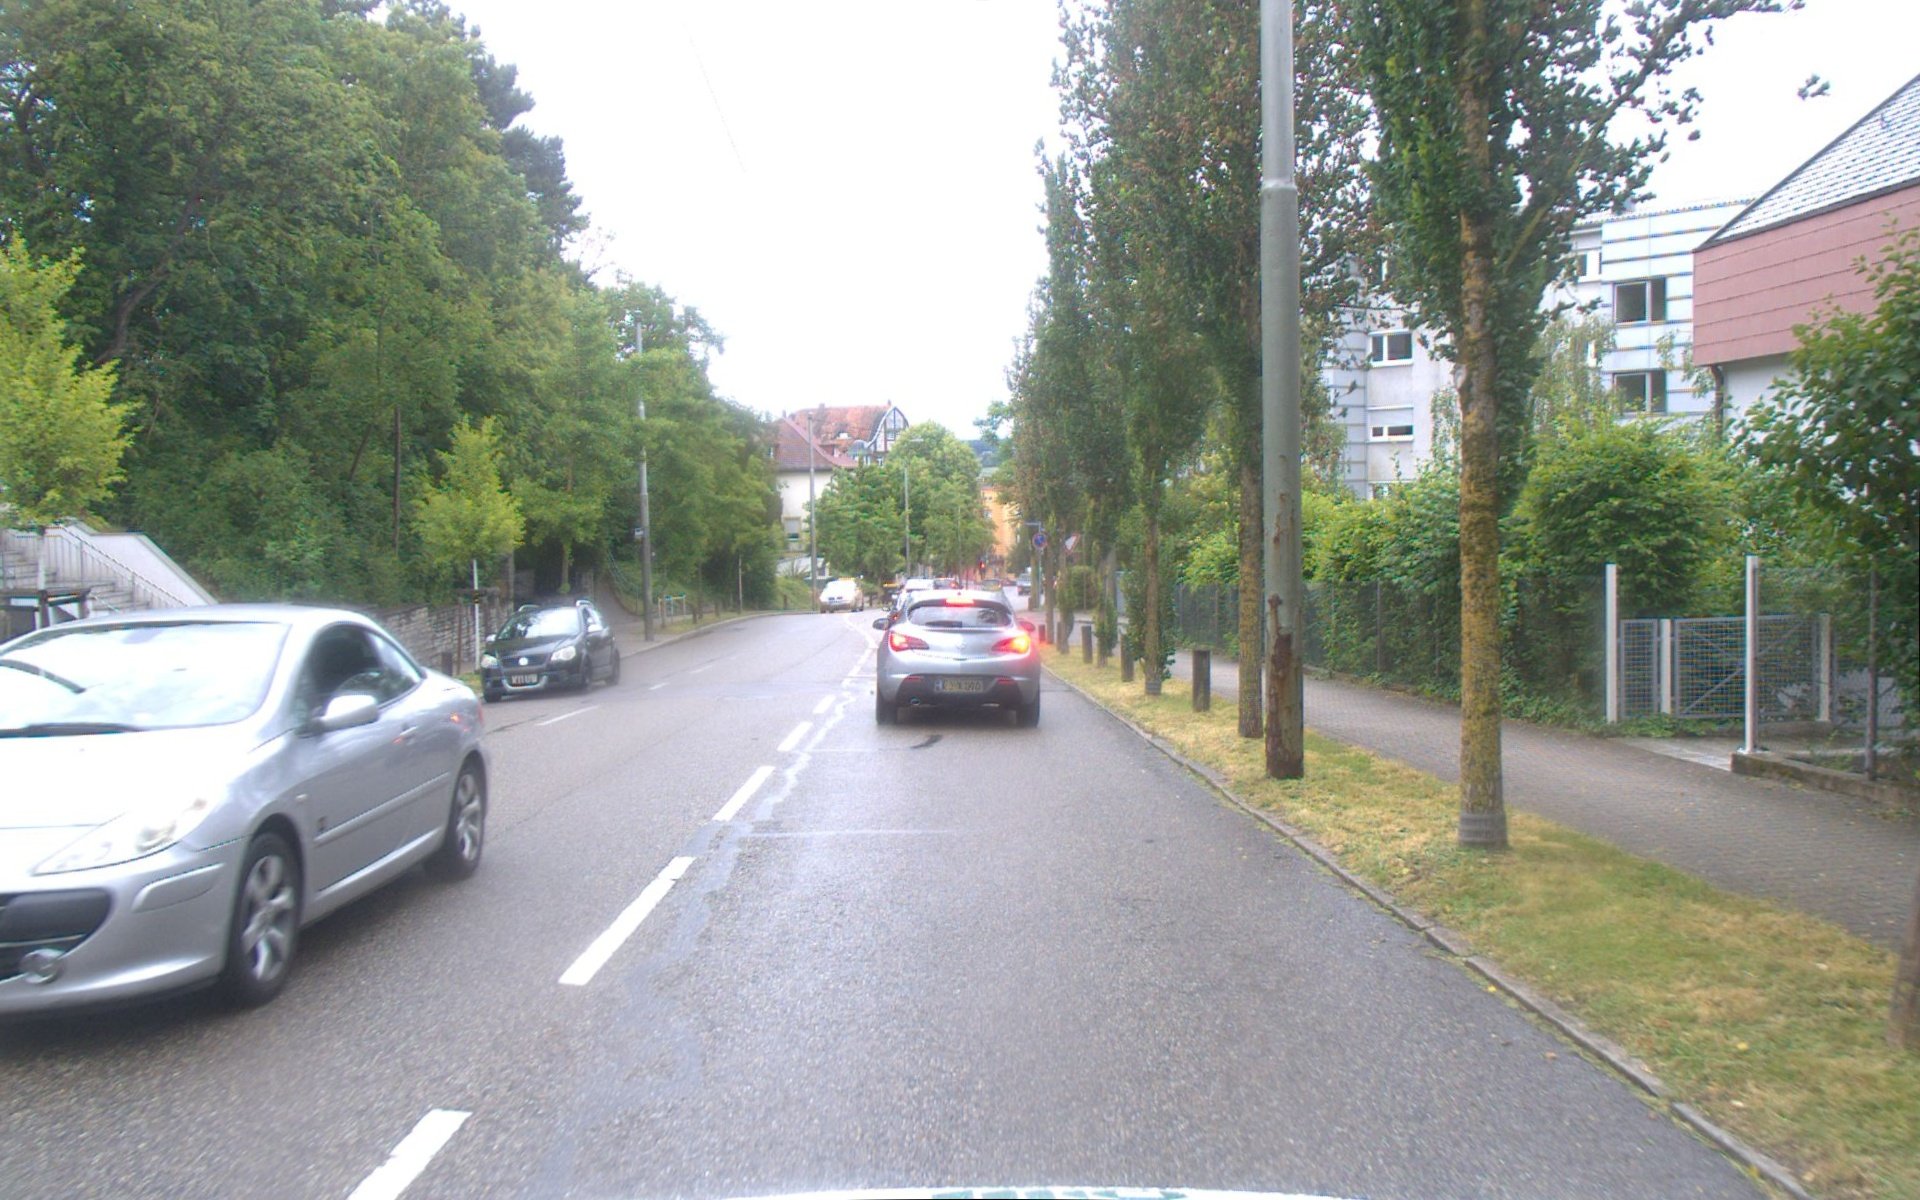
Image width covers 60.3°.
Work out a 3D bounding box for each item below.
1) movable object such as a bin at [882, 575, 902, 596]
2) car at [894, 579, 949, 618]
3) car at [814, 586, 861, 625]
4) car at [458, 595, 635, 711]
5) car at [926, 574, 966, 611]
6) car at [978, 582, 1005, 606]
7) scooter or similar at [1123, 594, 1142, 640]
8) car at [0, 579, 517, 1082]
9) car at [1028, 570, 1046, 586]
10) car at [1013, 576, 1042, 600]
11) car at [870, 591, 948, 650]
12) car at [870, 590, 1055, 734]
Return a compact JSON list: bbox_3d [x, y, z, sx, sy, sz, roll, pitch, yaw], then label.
[{"bbox_3d":[-4.589,-0.973,111.387,1.245,1.411,0.489,0,1,4],"label":"movable object such as a bin"},{"bbox_3d":[-1.634,-0.093,71.482,1.919,1.497,3.954,1,2,4],"label":"car"},{"bbox_3d":[-5.527,0.212,74.979,1.729,1.511,3.802,-3,2,1],"label":"car"},{"bbox_3d":[-6.602,0.789,26.819,1.710,1.575,3.919,-5,0,1],"label":"car"},{"bbox_3d":[-0.720,-0.442,87.821,1.731,1.812,3.979,1,2,4],"label":"car"},{"bbox_3d":[2.342,-0.457,120.973,1.717,1.679,4.003,1,1,4],"label":"car"},{"bbox_3d":[4.863,0.467,46.643,0.336,1.276,1.267,1,0,-2],"label":"scooter or similar"},{"bbox_3d":[-3.298,0.720,7.051,1.726,1.512,3.999,-3,0,-1],"label":"car"},{"bbox_3d":[9.766,-2.779,209.512,1.951,1.815,4.004,1,2,7],"label":"car"},{"bbox_3d":[6.326,-1.161,155.129,2.284,2.071,4.739,1,2,7],"label":"car"},{"bbox_3d":[-1.237,0.490,41.733,1.760,1.346,4.001,-1,1,1],"label":"car"},{"bbox_3d":[-0.001,0.633,19.207,1.905,1.457,3.884,1,1,-1],"label":"car"}]
